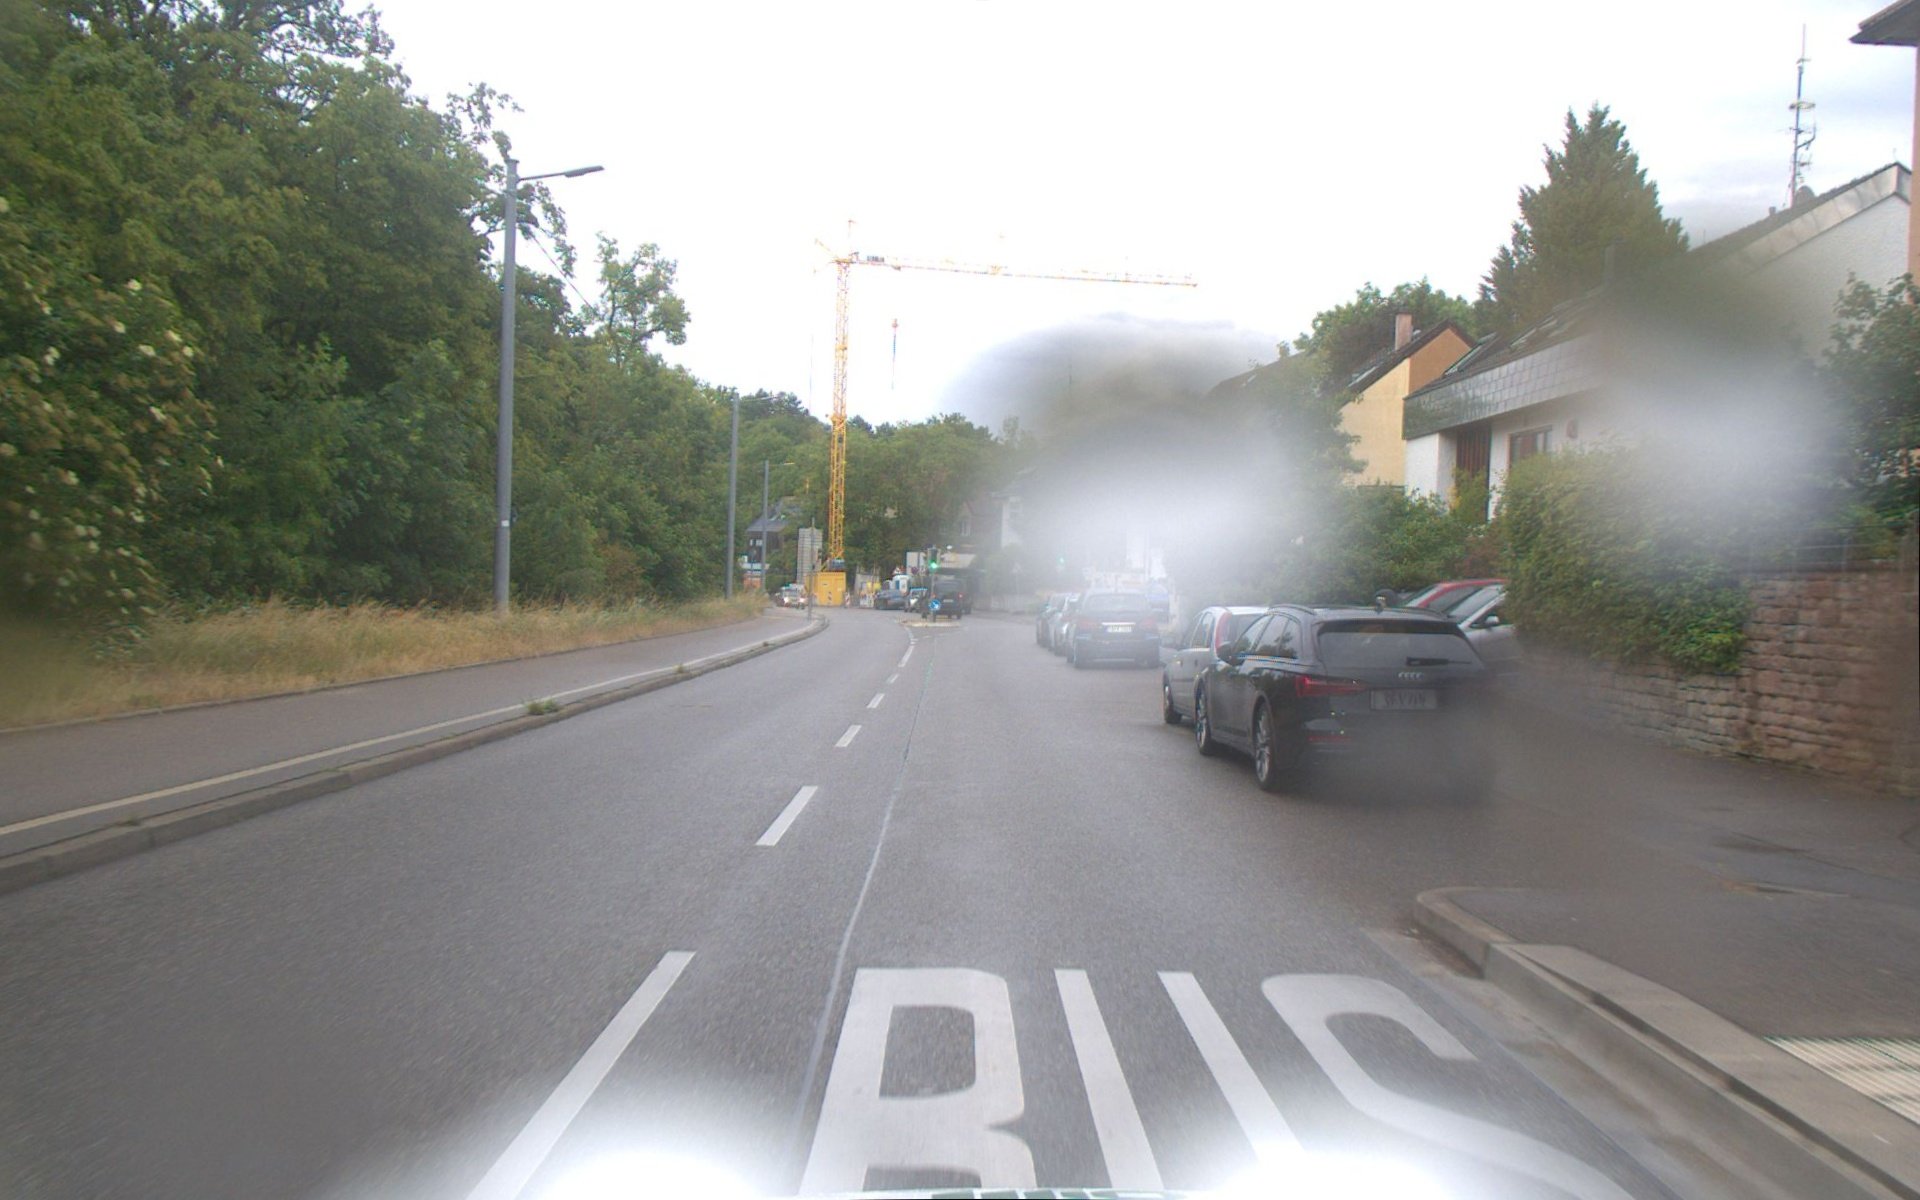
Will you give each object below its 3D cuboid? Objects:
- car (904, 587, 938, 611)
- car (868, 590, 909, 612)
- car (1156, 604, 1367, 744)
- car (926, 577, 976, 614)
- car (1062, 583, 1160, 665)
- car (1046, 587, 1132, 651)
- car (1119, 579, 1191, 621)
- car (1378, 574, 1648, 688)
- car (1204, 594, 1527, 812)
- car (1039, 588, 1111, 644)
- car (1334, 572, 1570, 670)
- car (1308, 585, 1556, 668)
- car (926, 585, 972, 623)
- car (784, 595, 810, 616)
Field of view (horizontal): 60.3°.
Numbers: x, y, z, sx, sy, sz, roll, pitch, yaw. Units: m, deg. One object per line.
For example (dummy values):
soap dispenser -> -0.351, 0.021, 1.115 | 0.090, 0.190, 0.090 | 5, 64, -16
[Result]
car -> -2.504, -0.067, 105.802 | 1.643, 1.482, 3.376 | -1, 0, -11
car -> -5.169, 0.042, 119.314 | 1.900, 1.447, 4.817 | 3, 0, -16
car -> 3.339, 0.775, 19.051 | 1.775, 1.422, 4.103 | 0, -1, 1
car -> -0.561, -0.256, 96.372 | 1.958, 2.049, 4.942 | -2, 0, -12
car -> 3.144, 0.456, 35.151 | 1.695, 1.595, 4.522 | 0, 1, 0
car -> 3.193, 0.475, 41.696 | 1.756, 1.513, 4.494 | 0, -1, -1
car -> 8.340, 0.002, 71.157 | 1.896, 1.624, 4.332 | 3, -1, -9
car -> 8.680, 0.458, 26.152 | 3.585, 1.563, 1.827 | -3, 1, -3
car -> 3.302, 0.773, 14.397 | 1.792, 1.574, 4.630 | 0, -1, 2
car -> 3.177, 0.444, 46.468 | 1.716, 1.468, 4.600 | 0, 0, 0
car -> 8.626, 0.360, 29.211 | 3.583, 1.593, 1.882 | -1, 0, -1
car -> 8.857, 0.490, 31.281 | 4.158, 1.486, 1.882 | 0, -1, -1
car -> -0.589, 0.206, 84.925 | 1.895, 1.782, 3.995 | 3, -1, -6
car -> -12.065, 0.393, 122.786 | 1.709, 1.485, 4.411 | 0, 0, -3
